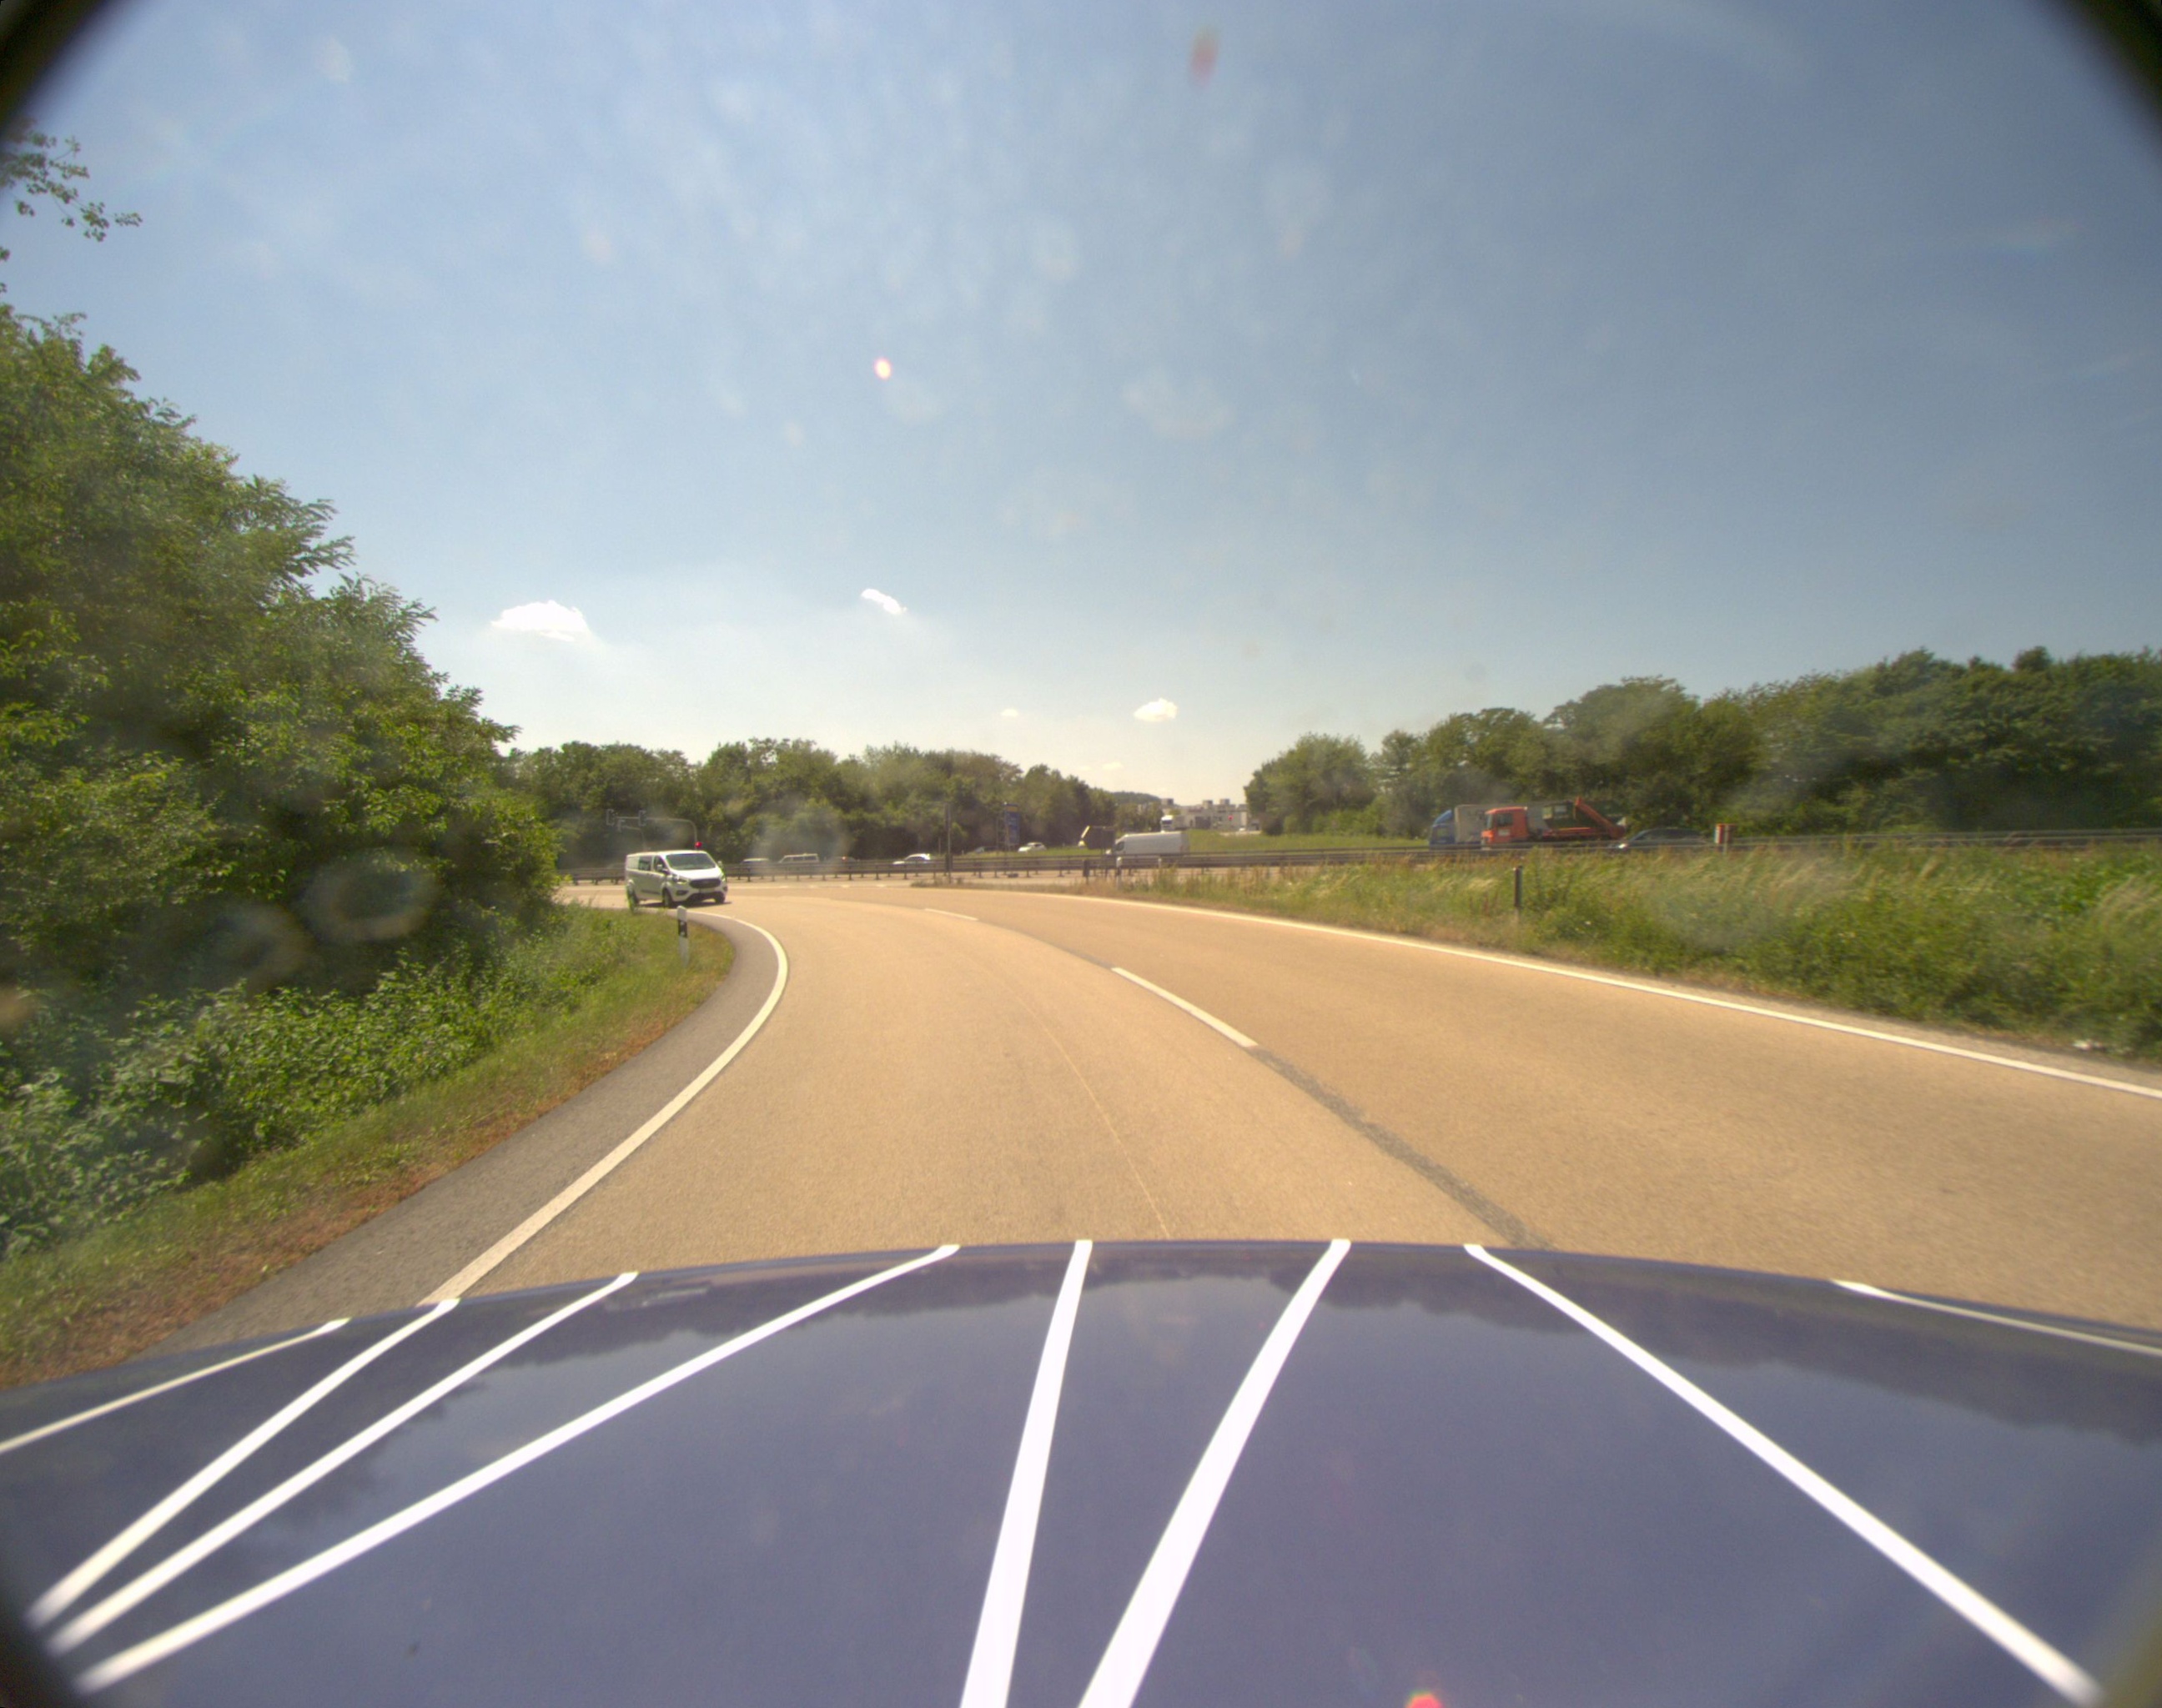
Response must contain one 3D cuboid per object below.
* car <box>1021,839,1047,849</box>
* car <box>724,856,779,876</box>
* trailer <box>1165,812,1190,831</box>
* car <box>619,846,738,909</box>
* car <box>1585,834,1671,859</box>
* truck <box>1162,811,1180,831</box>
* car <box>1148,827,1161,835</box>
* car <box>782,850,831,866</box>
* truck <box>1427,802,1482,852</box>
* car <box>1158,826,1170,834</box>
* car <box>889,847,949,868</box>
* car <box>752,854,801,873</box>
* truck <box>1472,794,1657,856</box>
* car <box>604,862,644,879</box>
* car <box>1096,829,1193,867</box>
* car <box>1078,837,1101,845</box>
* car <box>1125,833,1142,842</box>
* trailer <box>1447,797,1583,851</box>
[{"bbox_3d":[-6.421,-1.376,104.465,1.528,1.159,3.882,-2,1,35],"label":"car"},{"bbox_3d":[-25.627,0.930,59.081,3.913,1.340,1.521,-2,2,21],"label":"car"},{"bbox_3d":[21.996,-7.425,173.309,2.819,4.135,12.267,-2,2,20],"label":"trailer"},{"bbox_3d":[-14.879,0.859,27.987,5.027,2.002,2.067,-2,3,41],"label":"car"},{"bbox_3d":[26.888,-0.374,37.450,3.239,1.142,1.233,-2,0,20],"label":"car"},{"bbox_3d":[19.821,-7.285,167.443,2.826,4.135,4.004,-2,2,20],"label":"truck"},{"bbox_3d":[14.198,-4.367,146.058,1.596,1.424,3.575,-2,0,20],"label":"car"},{"bbox_3d":[-31.072,0.430,86.147,5.117,1.631,2.014,-2,1,-21],"label":"car"},{"bbox_3d":[24.133,-1.711,49.213,3.069,2.992,2.319,-2,1,24],"label":"truck"},{"bbox_3d":[16.661,-4.785,152.939,1.596,1.424,3.575,-2,0,20],"label":"car"},{"bbox_3d":[-13.402,0.293,62.935,4.526,1.476,1.705,-2,2,20],"label":"car"},{"bbox_3d":[-25.603,0.811,63.898,3.563,1.386,1.656,-2,2,21],"label":"car"},{"bbox_3d":[26.295,-1.519,41.833,8.187,3.045,2.606,-1,1,19],"label":"truck"},{"bbox_3d":[-35.656,1.277,59.275,2.722,1.229,1.158,-2,2,21],"label":"car"},{"bbox_3d":[4.695,-0.427,56.071,6.682,2.524,2.166,-2,2,21],"label":"car"},{"bbox_3d":[1.278,-1.977,115.251,1.528,1.159,4.083,-2,1,32],"label":"car"},{"bbox_3d":[9.188,-2.873,132.265,1.596,1.424,3.756,-2,0,25],"label":"car"},{"bbox_3d":[27.140,-1.820,47.884,7.205,2.992,2.309,-2,1,24],"label":"trailer"}]
